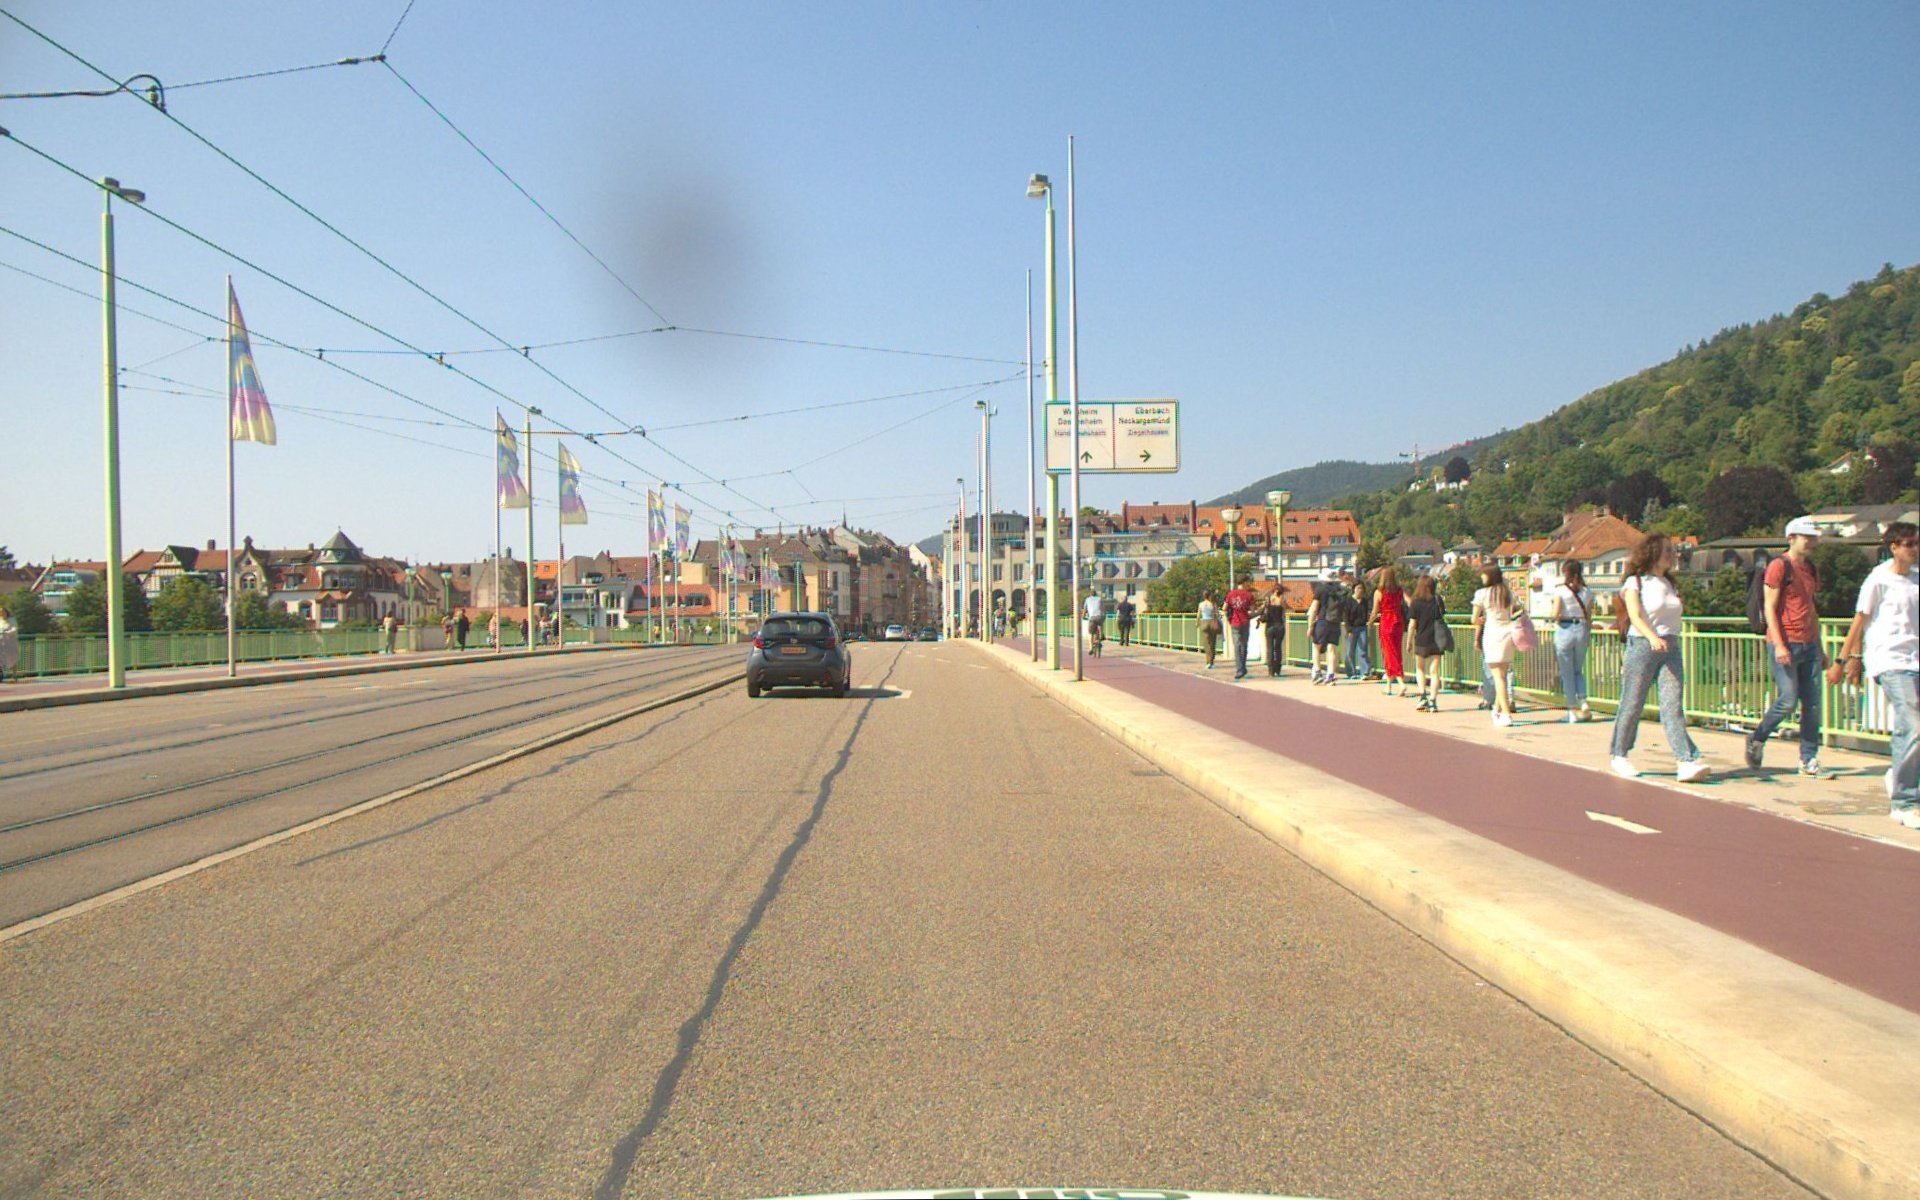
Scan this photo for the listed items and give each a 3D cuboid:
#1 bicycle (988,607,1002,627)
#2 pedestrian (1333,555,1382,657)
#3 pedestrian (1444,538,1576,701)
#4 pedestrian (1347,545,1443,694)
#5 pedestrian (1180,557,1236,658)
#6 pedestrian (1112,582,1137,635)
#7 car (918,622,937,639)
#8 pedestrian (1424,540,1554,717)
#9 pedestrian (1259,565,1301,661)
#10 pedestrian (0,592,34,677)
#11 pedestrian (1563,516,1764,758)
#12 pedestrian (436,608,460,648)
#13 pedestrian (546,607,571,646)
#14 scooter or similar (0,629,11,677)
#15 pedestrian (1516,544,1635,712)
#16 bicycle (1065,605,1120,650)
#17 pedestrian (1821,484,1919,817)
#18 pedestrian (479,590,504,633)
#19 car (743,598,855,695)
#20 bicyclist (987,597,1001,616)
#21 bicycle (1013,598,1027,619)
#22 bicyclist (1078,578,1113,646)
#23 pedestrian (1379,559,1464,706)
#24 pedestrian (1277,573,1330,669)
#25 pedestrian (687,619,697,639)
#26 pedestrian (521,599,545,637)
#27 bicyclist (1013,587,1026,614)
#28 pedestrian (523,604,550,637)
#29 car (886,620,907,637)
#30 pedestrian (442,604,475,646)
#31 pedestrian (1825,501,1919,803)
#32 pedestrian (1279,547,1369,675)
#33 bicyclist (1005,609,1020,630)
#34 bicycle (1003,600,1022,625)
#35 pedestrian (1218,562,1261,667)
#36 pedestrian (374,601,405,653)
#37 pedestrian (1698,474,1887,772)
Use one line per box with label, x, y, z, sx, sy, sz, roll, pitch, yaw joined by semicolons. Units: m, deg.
bicycle;1.943;0.946;92.724;0.606;1.056;2.049;-1;0;-3
pedestrian;6.579;0.099;27.400;0.636;1.660;0.692;0;0;-1
pedestrian;6.401;0.215;19.304;0.966;1.800;1.252;-2;0;-7
pedestrian;5.989;0.262;22.821;0.995;1.988;0.938;-1;-1;-4
pedestrian;5.134;0.159;34.285;0.857;2.049;1.057;-1;0;-7
pedestrian;5.586;0.274;56.163;0.642;1.774;0.977;-1;1;-7
car;-3.214;3.024;163.869;1.767;1.494;4.000;-3;0;1
pedestrian;5.520;0.290;17.316;0.966;1.781;0.928;-1;0;-8
pedestrian;5.677;0.223;29.380;0.513;1.678;0.698;-1;-1;-7
pedestrian;-21.945;0.781;38.041;0.724;1.886;0.974;2;0;-4
pedestrian;5.026;0.254;11.874;0.966;1.643;0.920;-1;0;-8
pedestrian;-22.746;1.260;73.525;0.739;1.752;1.174;-1;-1;-4
pedestrian;-21.831;1.439;89.932;1.076;2.049;1.294;-1;0;-4
scooter or similar;-21.903;1.185;37.127;0.724;1.047;0.832;2;0;-4
pedestrian;6.447;0.286;17.359;0.818;1.706;0.884;-1;0;-8
bicycle;3.513;0.711;44.332;0.777;1.115;3.740;-2;0;-6
pedestrian;5.409;0.274;9.473;0.538;1.830;0.645;-1;-1;-7
pedestrian;-22.295;0.535;78.780;0.950;2.049;1.100;-1;0;-7
car;-2.903;0.795;30.459;1.872;1.567;3.997;-2;1;-4
bicyclist;1.898;0.363;92.638;0.720;1.048;1.174;-1;0;-3
bicycle;3.722;0.517;102.668;0.606;1.293;2.214;-1;0;-3
bicyclist;3.604;0.305;44.040;0.660;1.774;1.149;-2;0;-6
pedestrian;5.426;0.372;19.489;0.642;1.678;0.867;-1;0;-7
pedestrian;5.805;0.347;27.965;0.637;1.589;0.691;-2;0;-7
pedestrian;-24.799;2.675;153.212;0.814;1.752;1.093;-1;0;-3
pedestrian;-23.387;0.959;90.603;1.076;2.049;1.128;-1;0;-4
bicyclist;3.692;0.038;102.786;0.720;1.664;0.866;-1;0;-4
pedestrian;-22.951;1.112;89.691;1.074;1.759;1.295;-2;-1;1
car;-5.891;2.626;153.131;1.768;1.494;3.996;-3;0;-4
pedestrian;-21.806;1.092;71.968;1.076;1.789;1.294;-1;0;-4
pedestrian;5.783;0.296;9.964;0.682;1.746;0.730;-1;-1;-7
pedestrian;5.678;0.167;25.874;0.966;1.928;1.252;-1;0;-7
bicyclist;2.700;1.001;85.060;0.653;1.063;0.979;-2;-1;-5
bicycle;2.687;0.644;85.026;0.681;1.214;2.076;-2;-1;-6
pedestrian;4.964;0.252;29.393;0.574;1.825;0.631;-1;-1;-7
pedestrian;-22.970;1.069;66.619;0.881;2.049;1.041;-1;0;-4
pedestrian;5.992;0.155;11.952;0.788;2.049;0.953;-1;-1;-7
